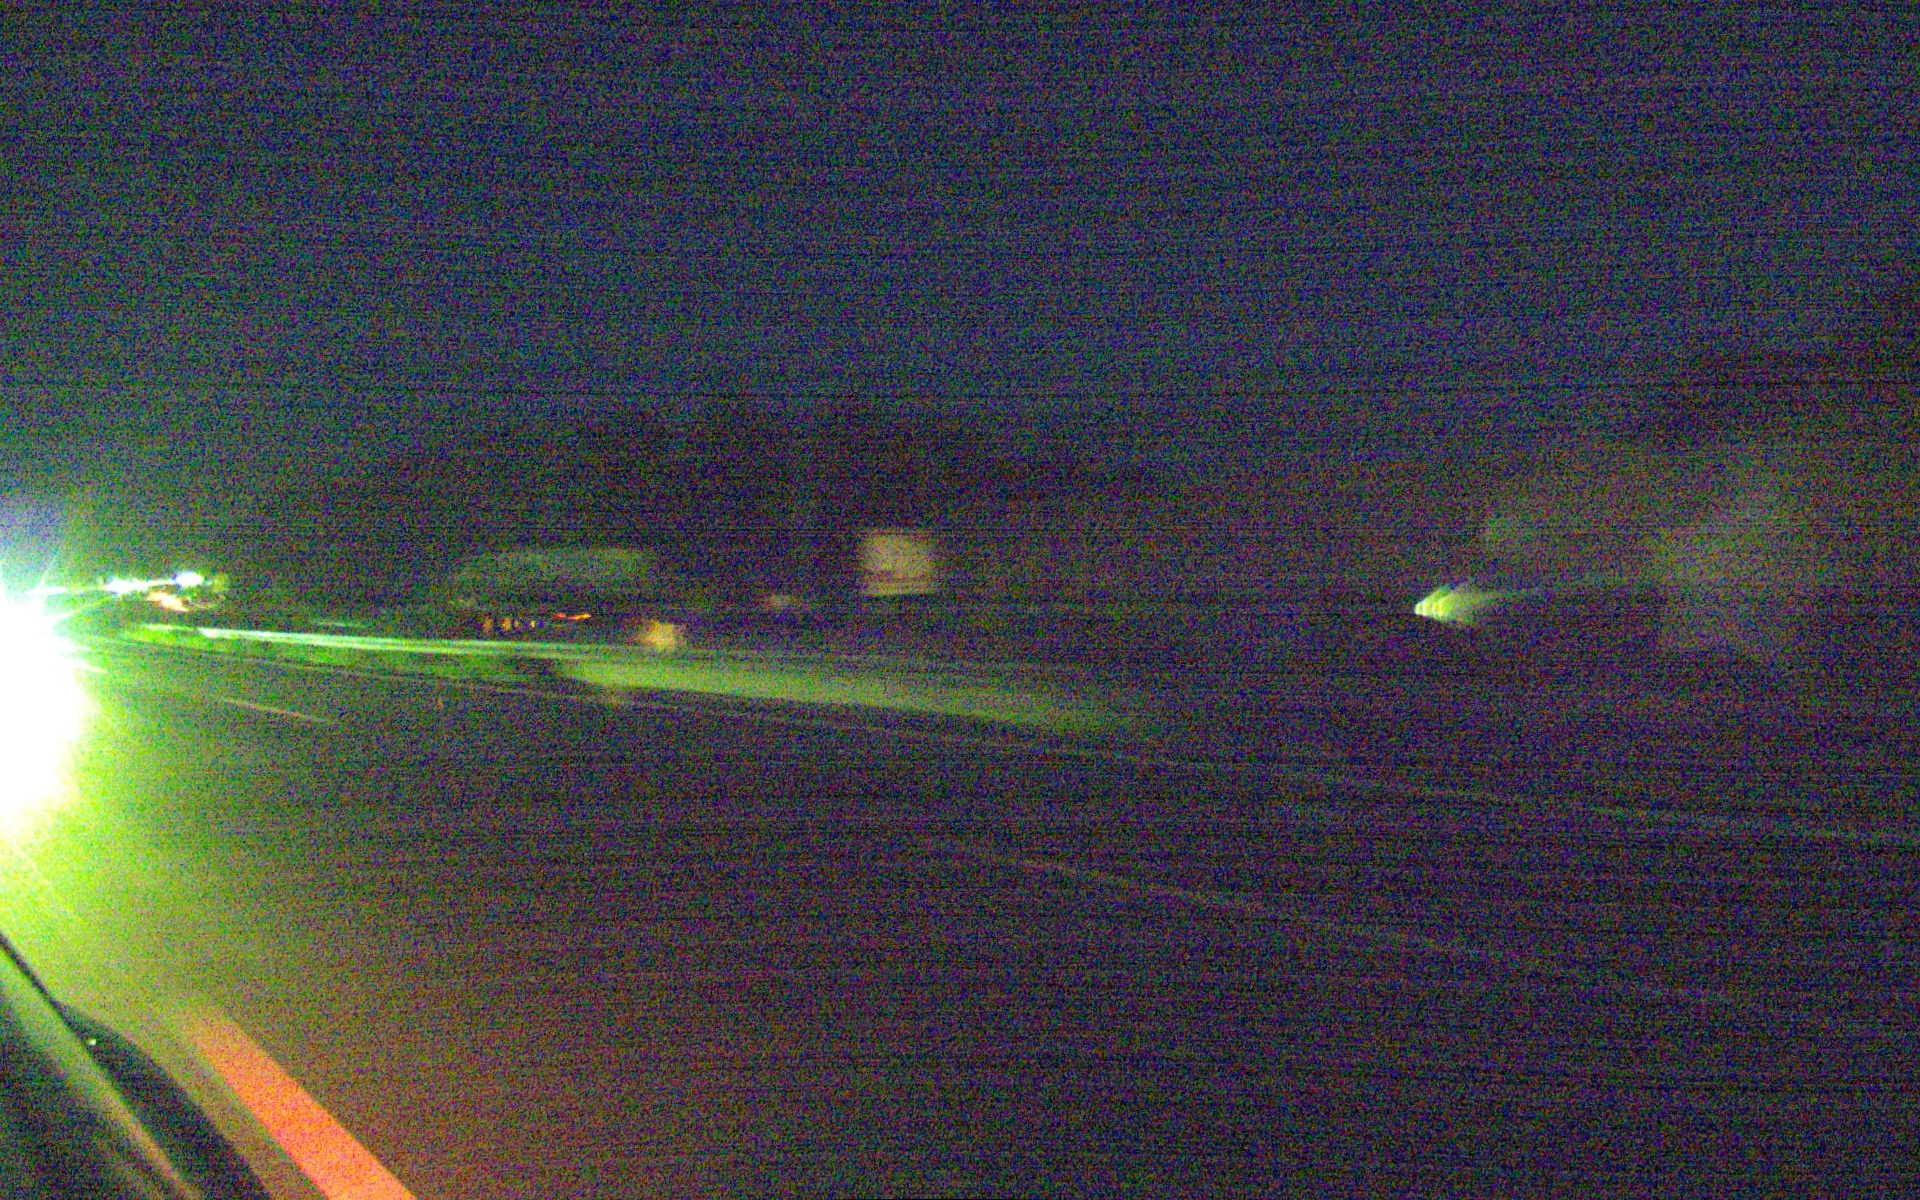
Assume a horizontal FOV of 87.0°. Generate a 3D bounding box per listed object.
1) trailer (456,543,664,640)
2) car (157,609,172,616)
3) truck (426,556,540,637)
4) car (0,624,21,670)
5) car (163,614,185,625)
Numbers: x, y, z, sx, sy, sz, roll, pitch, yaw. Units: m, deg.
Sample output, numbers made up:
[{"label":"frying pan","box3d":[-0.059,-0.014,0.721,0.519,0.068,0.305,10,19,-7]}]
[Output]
[{"label":"trailer","box3d":[-19.729,-0.225,49.049,14.122,4.121,3.560,-1,-1,43]},{"label":"car","box3d":[-166.308,2.558,211.618,4.317,1.519,1.971,0,0,45]},{"label":"truck","box3d":[-25.766,-0.116,54.578,5.992,4.130,3.552,-1,-1,42]},{"label":"car","box3d":[-33.833,1.636,35.091,1.807,1.422,4.004,-1,1,-43]},{"label":"car","box3d":[-111.912,2.818,144.026,4.002,1.519,1.971,-1,-1,45]}]
